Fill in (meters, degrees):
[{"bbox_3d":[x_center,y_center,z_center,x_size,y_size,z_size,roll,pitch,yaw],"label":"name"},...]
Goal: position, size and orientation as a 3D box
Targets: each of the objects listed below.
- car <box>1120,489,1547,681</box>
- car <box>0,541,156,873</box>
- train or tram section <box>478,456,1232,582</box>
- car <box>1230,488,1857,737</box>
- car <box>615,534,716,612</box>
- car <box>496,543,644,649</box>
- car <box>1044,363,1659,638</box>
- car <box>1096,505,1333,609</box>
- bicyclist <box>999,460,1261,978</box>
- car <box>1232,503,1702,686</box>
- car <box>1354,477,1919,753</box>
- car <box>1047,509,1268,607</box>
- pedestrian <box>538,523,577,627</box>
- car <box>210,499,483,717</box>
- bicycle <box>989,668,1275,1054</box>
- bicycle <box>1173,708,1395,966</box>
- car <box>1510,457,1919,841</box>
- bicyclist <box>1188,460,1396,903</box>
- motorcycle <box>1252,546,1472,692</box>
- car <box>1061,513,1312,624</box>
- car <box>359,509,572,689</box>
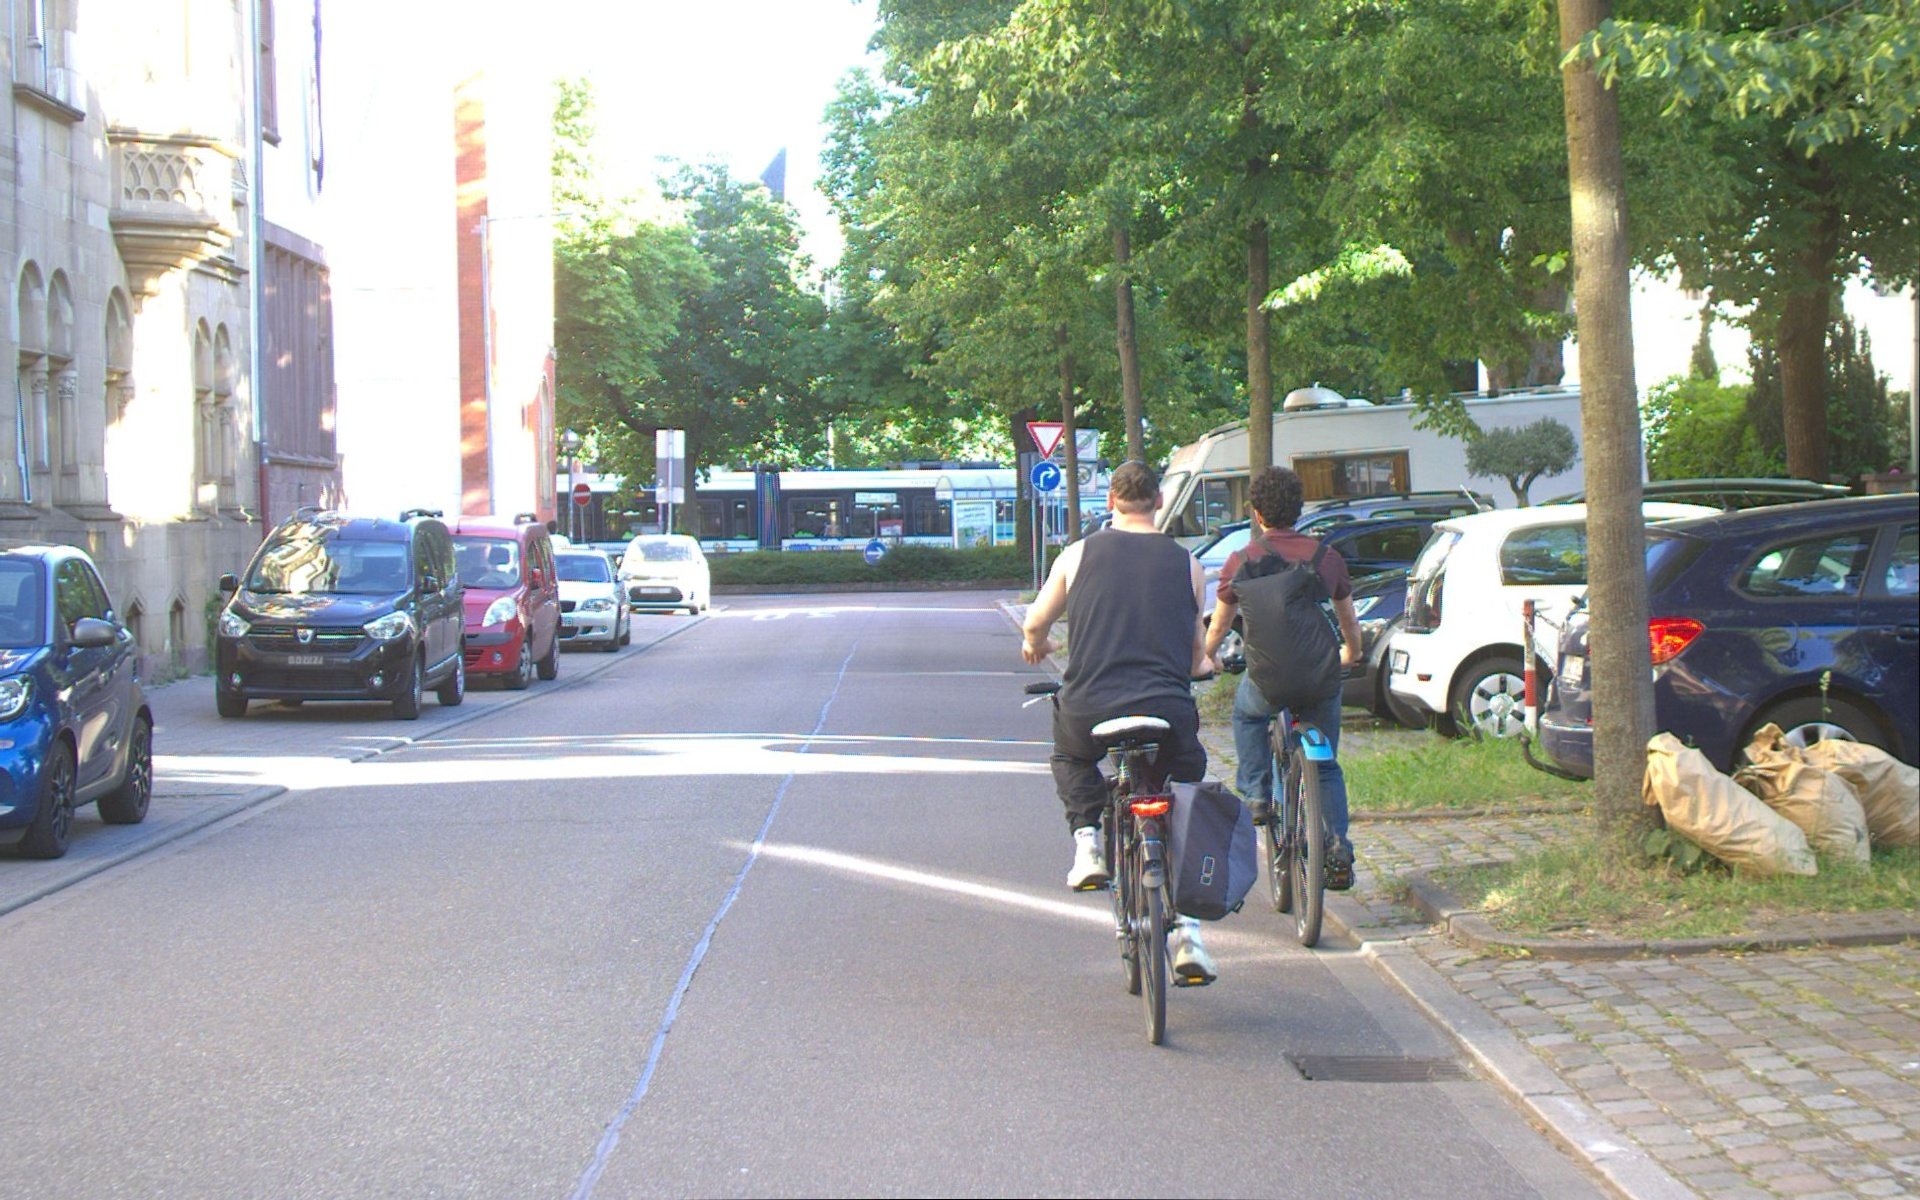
[{"bbox_3d":[3.804,-0.166,35.455,4.082,1.644,1.641,-4,1,-2],"label":"car"},{"bbox_3d":[-5.171,0.463,17.412,1.595,1.484,2.737,2,2,-2],"label":"car"},{"bbox_3d":[-3.035,-2.446,108.484,23.800,3.696,4.287,0,0,-22],"label":"train or tram section"},{"bbox_3d":[4.059,0.095,24.395,4.139,1.594,1.702,-2,-1,1],"label":"car"},{"bbox_3d":[-5.620,-0.538,65.977,1.583,1.371,4.131,1,2,0],"label":"car"},{"bbox_3d":[-5.412,-0.093,48.077,1.583,1.339,4.131,1,2,0],"label":"car"},{"bbox_3d":[4.774,-1.223,42.702,7.146,2.968,2.465,-3,1,-3],"label":"car"},{"bbox_3d":[4.472,-0.751,60.888,3.986,1.797,1.834,0,0,-3],"label":"car"},{"bbox_3d":[0.515,0.354,10.750,0.729,1.542,0.885,1,0,-2],"label":"bicyclist"},{"bbox_3d":[4.787,-0.047,32.781,4.138,1.594,1.702,-2,-1,-3],"label":"car"},{"bbox_3d":[4.487,0.095,21.755,3.773,1.594,1.691,-2,-1,1],"label":"car"},{"bbox_3d":[3.708,-0.792,65.019,3.986,1.797,1.834,0,0,-3],"label":"car"},{"bbox_3d":[-6.807,-0.420,58.102,0.609,1.756,0.432,0,0,0],"label":"pedestrian"},{"bbox_3d":[-5.394,0.002,30.710,1.640,1.777,4.354,1,2,0],"label":"car"},{"bbox_3d":[0.504,0.773,10.872,0.737,1.050,1.956,1,0,-2],"label":"bicycle"},{"bbox_3d":[1.206,0.868,13.096,0.633,0.796,1.833,-2,1,-1],"label":"bicycle"},{"bbox_3d":[4.729,0.182,15.442,4.223,1.594,1.691,-2,-1,1],"label":"car"},{"bbox_3d":[1.249,0.289,13.088,0.689,1.621,0.998,0,1,0],"label":"bicyclist"},{"bbox_3d":[3.239,0.152,27.756,1.606,1.137,0.671,-1,1,33],"label":"motorcycle"},{"bbox_3d":[3.733,-0.526,57.134,3.986,1.797,1.834,0,0,-3],"label":"car"},{"bbox_3d":[-5.341,-0.065,37.555,1.689,1.819,4.273,1,2,0],"label":"car"}]
